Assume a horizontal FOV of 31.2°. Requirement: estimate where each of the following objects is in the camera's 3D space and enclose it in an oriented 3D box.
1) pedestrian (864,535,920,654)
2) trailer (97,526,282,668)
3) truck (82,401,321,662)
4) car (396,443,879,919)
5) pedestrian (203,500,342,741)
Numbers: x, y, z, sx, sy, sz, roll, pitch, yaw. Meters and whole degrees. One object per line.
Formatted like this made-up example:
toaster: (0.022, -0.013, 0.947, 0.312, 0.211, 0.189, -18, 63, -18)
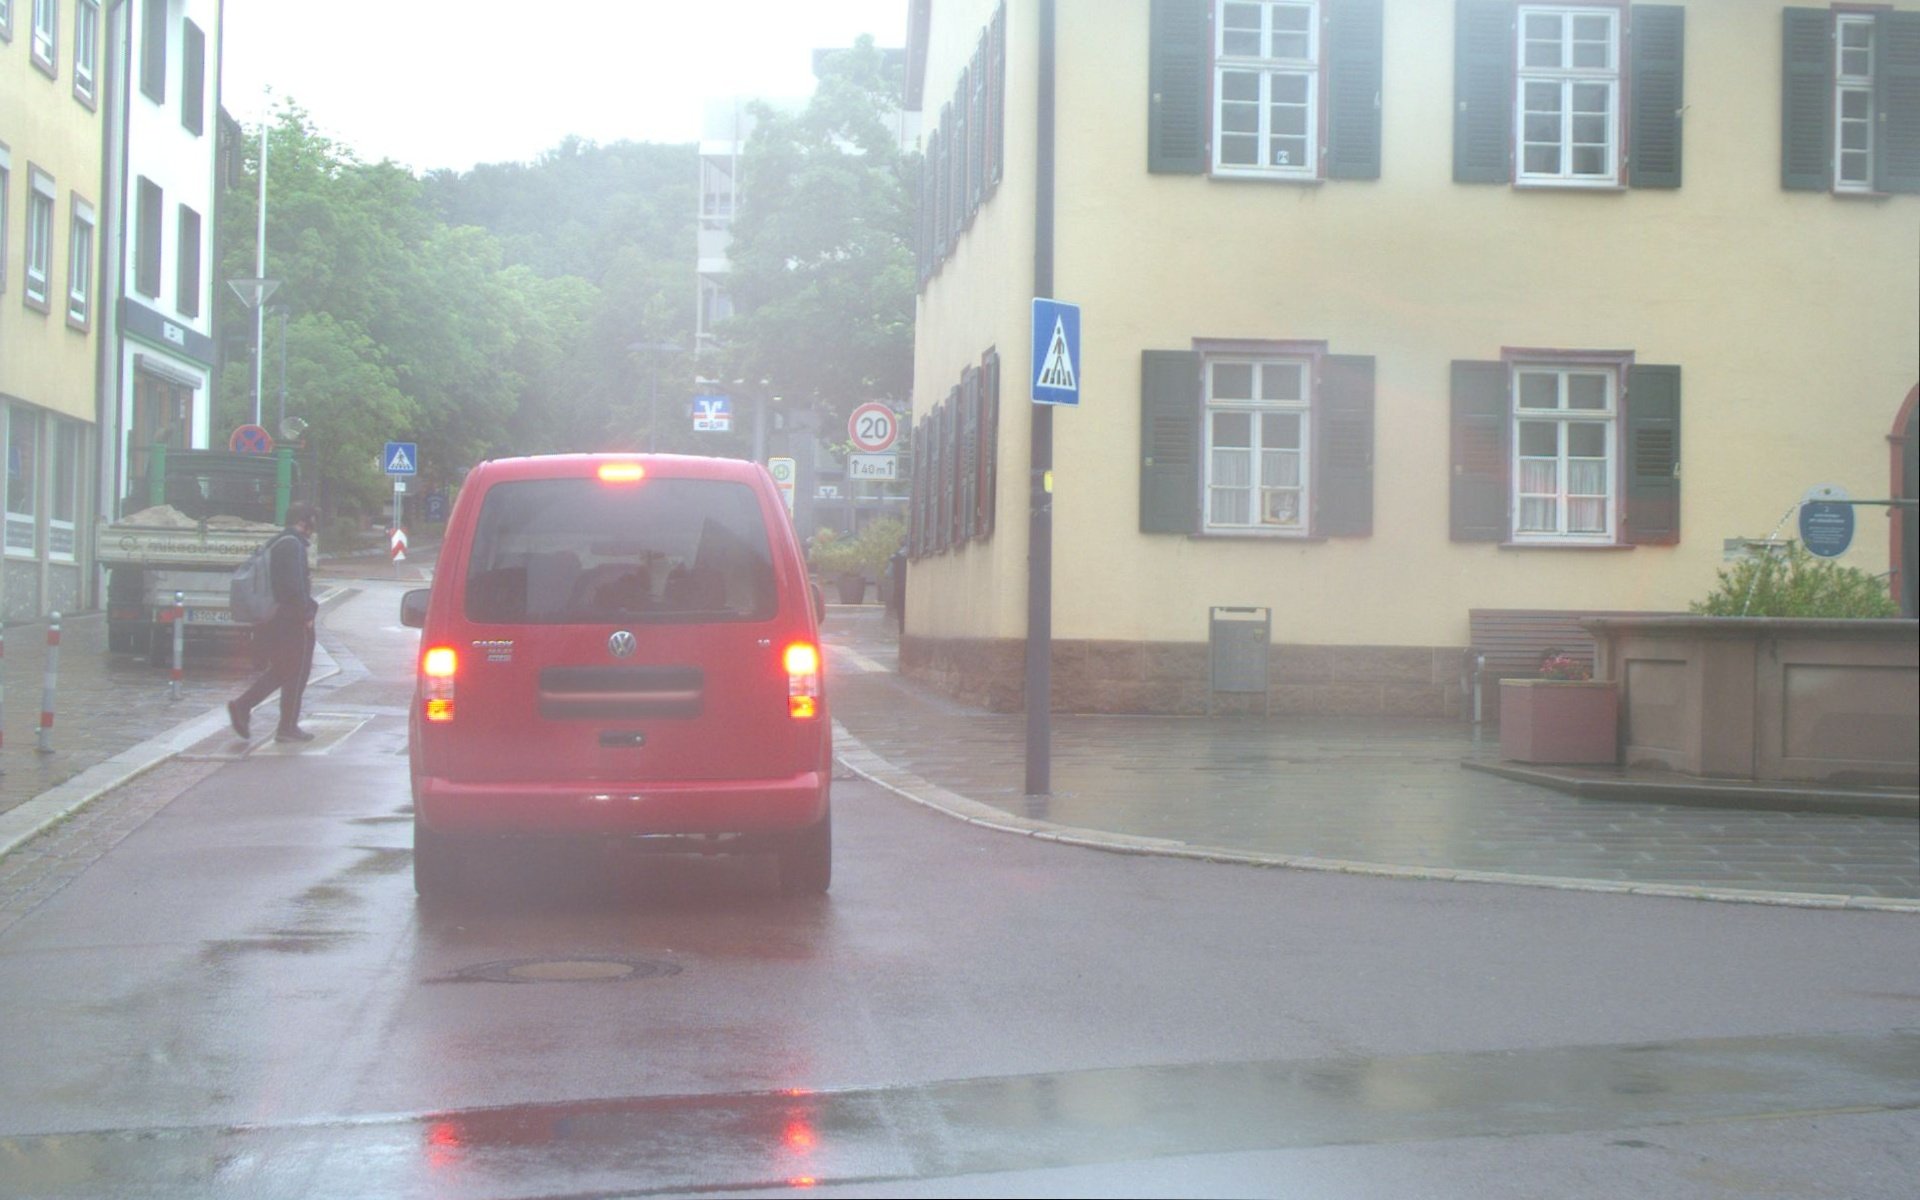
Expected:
pedestrian: (-0.929, -0.081, 47.067, 0.728, 1.611, 0.694, 1, 0, -3)
trailer: (-7.919, -0.061, 35.526, 1.727, 1.342, 3.162, 1, 2, -10)
truck: (-8.773, -0.849, 40.304, 2.473, 2.785, 6.602, 1, 2, -10)
car: (-1.582, 0.277, 15.406, 1.861, 1.824, 4.186, 0, 1, -9)
pedestrian: (-4.920, 0.138, 24.631, 0.865, 1.687, 0.716, 1, 1, -4)
